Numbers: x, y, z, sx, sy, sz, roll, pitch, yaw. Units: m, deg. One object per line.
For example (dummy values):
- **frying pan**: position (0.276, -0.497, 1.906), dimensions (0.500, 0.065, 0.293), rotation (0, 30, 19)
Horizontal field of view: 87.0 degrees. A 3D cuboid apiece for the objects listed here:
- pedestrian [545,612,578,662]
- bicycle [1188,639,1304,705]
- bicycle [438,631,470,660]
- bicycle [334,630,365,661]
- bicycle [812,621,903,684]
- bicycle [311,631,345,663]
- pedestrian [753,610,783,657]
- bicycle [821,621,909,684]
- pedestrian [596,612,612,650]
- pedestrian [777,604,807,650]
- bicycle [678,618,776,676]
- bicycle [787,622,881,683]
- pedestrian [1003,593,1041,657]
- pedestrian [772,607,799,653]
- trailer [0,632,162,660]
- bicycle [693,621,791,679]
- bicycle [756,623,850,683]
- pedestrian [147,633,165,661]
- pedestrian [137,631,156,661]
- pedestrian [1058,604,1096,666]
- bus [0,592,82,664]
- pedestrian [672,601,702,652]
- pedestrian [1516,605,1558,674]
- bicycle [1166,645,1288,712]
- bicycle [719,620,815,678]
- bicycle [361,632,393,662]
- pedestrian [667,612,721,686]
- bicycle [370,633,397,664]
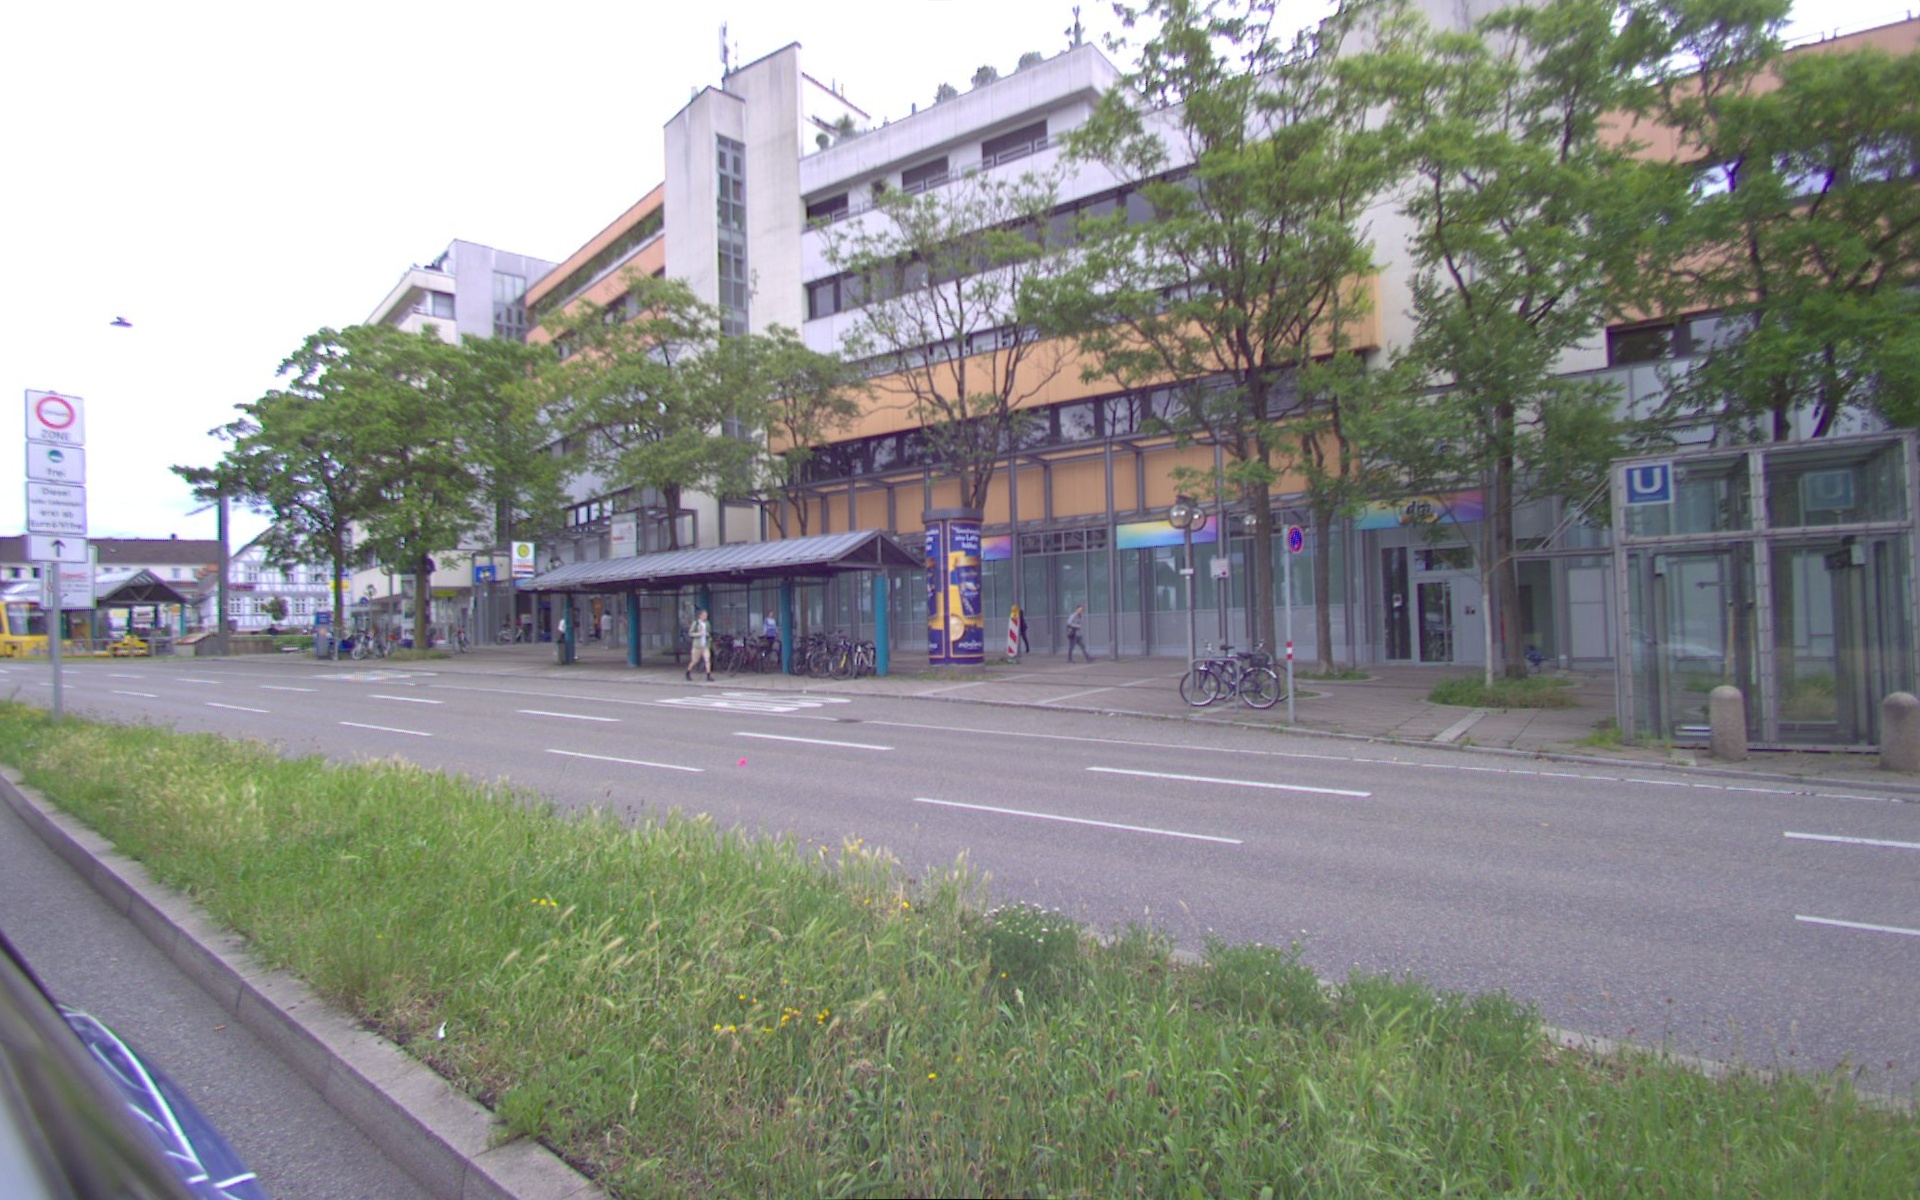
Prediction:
- **pedestrian**: position (-14.102, 1.294, 35.809), dimensions (0.705, 1.725, 0.768), rotation (-2, 0, 35)
- **bicycle**: position (5.235, 1.307, 18.566), dimensions (1.946, 1.145, 0.709), rotation (-2, -2, 26)
- **bicycle**: position (-21.198, 1.900, 42.422), dimensions (0.663, 1.170, 2.023), rotation (-1, -2, -11)
- **bicycle**: position (-23.946, 1.794, 39.741), dimensions (0.594, 1.170, 1.971), rotation (0, -2, -18)
- **bicycle**: position (-2.589, 1.307, 25.978), dimensions (0.698, 1.518, 2.876), rotation (-2, -2, 32)
- **bicycle**: position (-24.819, 1.822, 39.784), dimensions (0.594, 1.170, 1.971), rotation (-2, 0, -17)
- **pedestrian**: position (-6.651, 1.162, 35.060), dimensions (0.705, 1.595, 0.660), rotation (-2, 0, 35)
- **bicycle**: position (-2.385, 1.292, 25.822), dimensions (0.597, 1.518, 2.876), rotation (-2, -2, 32)
- **pedestrian**: position (-15.373, 1.331, 43.694), dimensions (0.623, 1.612, 0.624), rotation (-2, 0, -18)
- **pedestrian**: position (-6.399, 1.023, 38.590), dimensions (0.787, 1.729, 0.764), rotation (-2, 0, 33)
- **bicycle**: position (-6.694, 1.327, 29.276), dimensions (0.969, 1.518, 2.877), rotation (-2, 0, 32)
- **bicycle**: position (-3.246, 1.331, 26.434), dimensions (0.776, 1.518, 2.876), rotation (-2, -2, 32)
- **pedestrian**: position (2.033, 0.823, 33.132), dimensions (0.932, 2.029, 0.888), rotation (-1, -2, 35)
- **pedestrian**: position (-6.145, 1.057, 35.704), dimensions (0.621, 1.612, 0.627), rotation (-2, 0, 35)
- **trailer**: position (-46.531, 2.445, 53.168), dimensions (12.072, 1.343, 2.822), rotation (-2, -2, 29)
- **bicycle**: position (-6.003, 1.356, 28.062), dimensions (0.888, 1.518, 2.876), rotation (-2, -2, 32)
- **bicycle**: position (-4.124, 1.364, 26.871), dimensions (0.803, 1.518, 2.876), rotation (-2, -2, 32)
- **pedestrian**: position (-45.213, 2.633, 56.894), dimensions (0.618, 1.585, 0.594), rotation (-2, -2, 30)
- **pedestrian**: position (-44.784, 2.531, 55.720), dimensions (0.618, 1.585, 0.594), rotation (-2, -2, 30)
- **pedestrian**: position (3.369, 0.993, 29.123), dimensions (0.787, 1.729, 0.764), rotation (-2, 0, 32)
- **bus**: position (-60.139, 1.870, 61.511), dimensions (19.255, 3.889, 3.851), rotation (-2, -2, 29)
- **pedestrian**: position (-9.667, 0.934, 35.801), dimensions (0.763, 1.729, 0.789), rotation (-2, 0, -32)
- **pedestrian**: position (13.633, 0.930, 23.925), dimensions (0.822, 1.598, 0.629), rotation (-1, -2, 31)
- **bicycle**: position (4.647, 1.345, 17.631), dimensions (1.926, 1.092, 0.825), rotation (-2, -2, 27)
- **bicycle**: position (-5.228, 1.303, 27.615), dimensions (0.809, 1.518, 2.876), rotation (-2, -2, 33)
- **bicycle**: position (-23.505, 1.888, 40.806), dimensions (1.966, 1.170, 0.596), rotation (-3, -3, 44)
- **pedestrian**: position (-6.811, 1.230, 25.920), dimensions (1.212, 1.836, 0.697), rotation (-1, 0, 37)
- **bicycle**: position (-22.592, 1.904, 39.654), dimensions (0.594, 1.170, 1.695), rotation (0, -2, -19)
